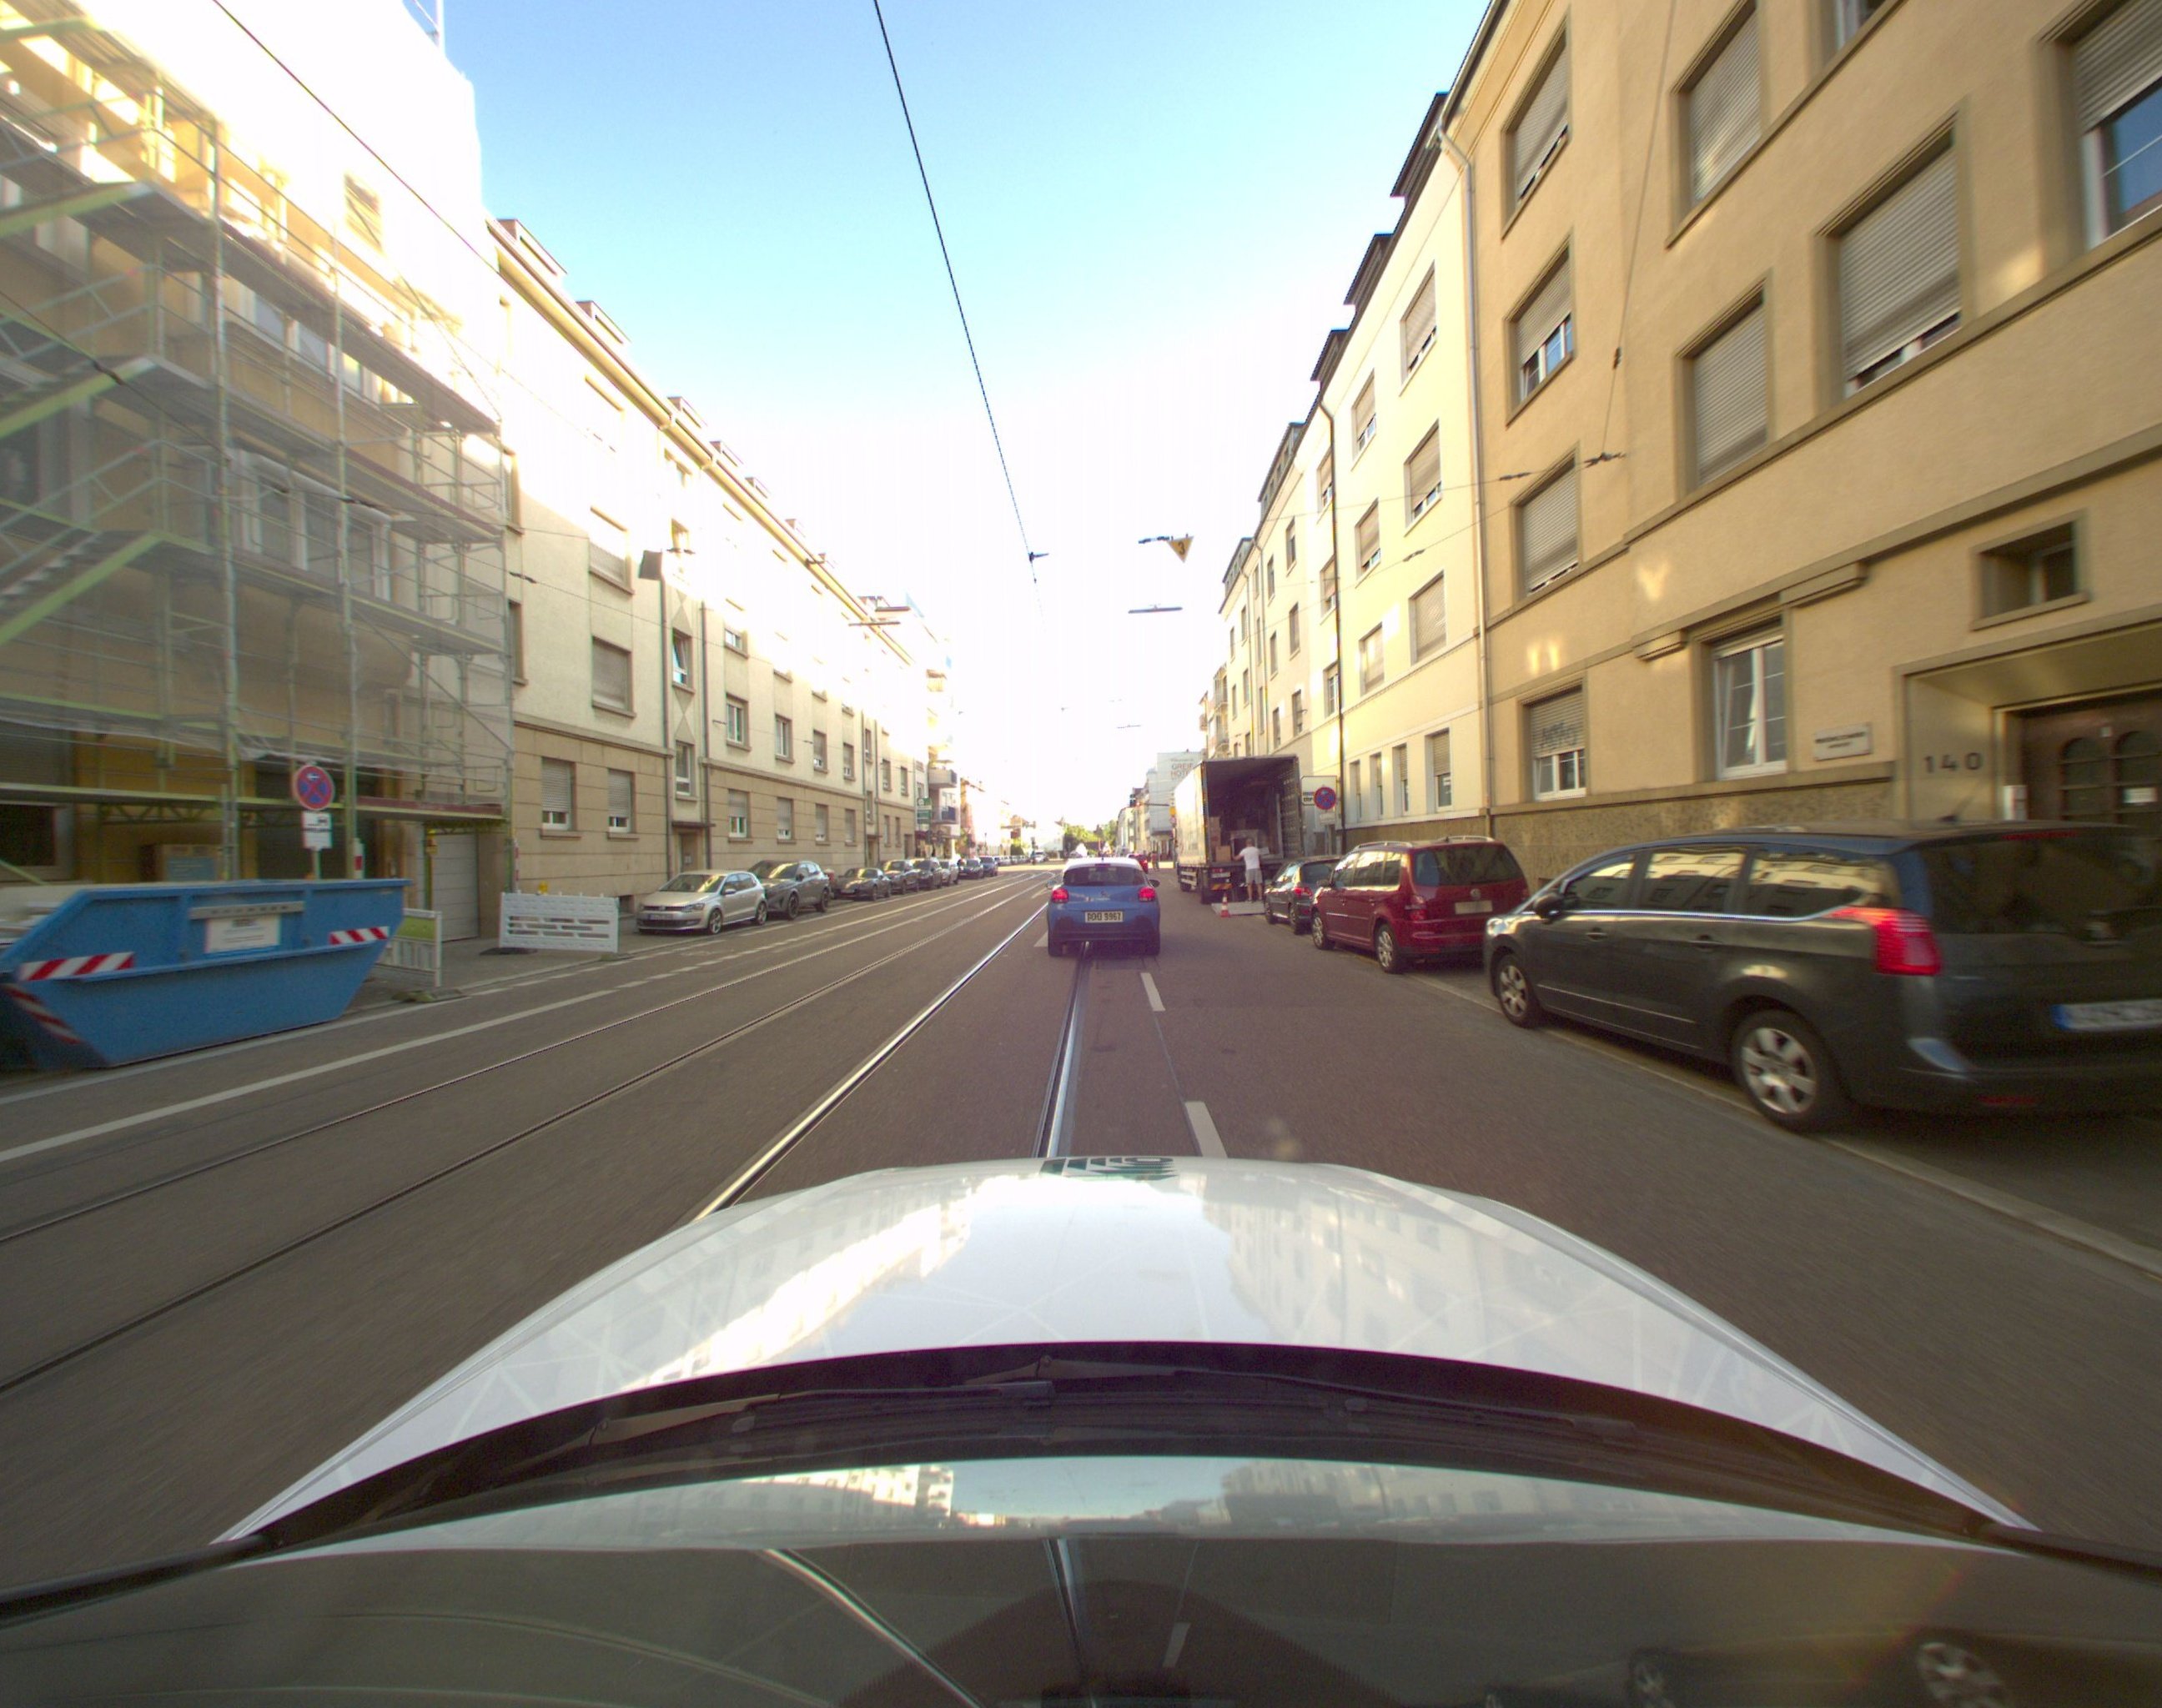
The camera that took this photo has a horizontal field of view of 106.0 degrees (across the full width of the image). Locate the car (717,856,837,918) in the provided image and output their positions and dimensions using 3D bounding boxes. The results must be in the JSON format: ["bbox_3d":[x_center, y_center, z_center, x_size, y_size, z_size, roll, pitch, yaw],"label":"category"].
[{"bbox_3d":[-8.780,0.892,23.967,1.693,1.568,4.408,-2,0,2],"label":"car"}]

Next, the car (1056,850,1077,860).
[{"bbox_3d":[-2.562,0.132,146.908,1.822,1.640,3.956,-2,0,-36],"label":"car"}]

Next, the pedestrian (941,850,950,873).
[{"bbox_3d":[-12.274,0.656,73.588,0.684,2.013,0.486,-1,0,-2],"label":"pedestrian"}]

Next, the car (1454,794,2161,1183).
[{"bbox_3d":[4.562,0.569,5.769,1.784,1.651,4.366,-3,0,0],"label":"car"}]

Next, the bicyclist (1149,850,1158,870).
[{"bbox_3d":[5.955,0.503,66.889,0.723,1.646,0.791,-2,0,4],"label":"bicyclist"}]

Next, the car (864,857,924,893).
[{"bbox_3d":[-8.464,0.919,37.195,1.693,1.569,4.002,0,-1,2],"label":"car"}]

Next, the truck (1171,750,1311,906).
[{"bbox_3d":[4.911,-0.721,27.600,2.848,4.073,11.787,-2,0,3],"label":"truck"}]

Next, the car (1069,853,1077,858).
[{"bbox_3d":[-2.108,0.392,217.401,2.014,1.525,4.000,-1,0,1],"label":"car"}]

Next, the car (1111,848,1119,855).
[{"bbox_3d":[7.437,-0.494,178.438,1.682,1.618,4.002,-1,0,2],"label":"car"}]

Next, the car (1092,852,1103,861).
[{"bbox_3d":[3.095,0.447,148.551,1.986,1.618,4.001,-1,0,2],"label":"car"}]

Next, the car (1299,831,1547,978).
[{"bbox_3d":[4.508,0.575,11.487,1.587,1.609,4.245,-3,0,-1],"label":"car"}]

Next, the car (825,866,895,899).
[{"bbox_3d":[-8.647,1.086,32.157,1.693,1.216,3.785,0,0,0],"label":"car"}]

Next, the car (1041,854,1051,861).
[{"bbox_3d":[-8.324,0.811,192.975,2.014,1.525,4.000,-1,0,1],"label":"car"}]

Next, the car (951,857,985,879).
[{"bbox_3d":[-7.899,0.945,57.296,1.693,1.509,4.314,0,0,2],"label":"car"}]

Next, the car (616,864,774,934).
[{"bbox_3d":[-8.999,0.989,19.394,1.693,1.416,4.002,2,0,2],"label":"car"}]

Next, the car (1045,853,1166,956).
[{"bbox_3d":[0.321,0.719,13.722,1.739,1.462,3.998,0,0,-1],"label":"car"}]

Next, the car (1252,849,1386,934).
[{"bbox_3d":[4.686,0.667,16.562,1.577,1.463,3.881,-3,0,1],"label":"car"}]

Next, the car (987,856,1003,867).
[{"bbox_3d":[-12.399,1.089,117.171,1.905,1.433,3.998,-2,0,-1],"label":"car"}]

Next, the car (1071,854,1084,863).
[{"bbox_3d":[-0.596,0.765,138.376,1.986,1.508,4.001,-2,0,1],"label":"car"}]

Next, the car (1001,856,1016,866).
[{"bbox_3d":[-11.941,1.143,134.339,1.904,1.497,4.000,-2,0,1],"label":"car"}]

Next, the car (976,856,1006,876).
[{"bbox_3d":[-6.998,0.901,63.776,1.738,1.509,4.002,0,-1,2],"label":"car"}]

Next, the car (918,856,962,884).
[{"bbox_3d":[-8.098,0.909,47.184,1.693,1.509,4.387,0,0,1],"label":"car"}]

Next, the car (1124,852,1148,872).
[{"bbox_3d":[4.113,0.557,60.388,1.730,1.420,4.005,-1,0,5],"label":"car"}]

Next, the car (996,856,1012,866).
[{"bbox_3d":[-12.048,1.063,127.537,1.904,1.497,4.000,-2,0,1],"label":"car"}]

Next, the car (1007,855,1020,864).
[{"bbox_3d":[-11.637,0.989,140.480,1.904,1.497,4.000,-2,0,1],"label":"car"}]

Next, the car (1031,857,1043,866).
[{"bbox_3d":[-8.113,1.380,149.658,1.844,1.574,4.400,-1,0,0],"label":"car"}]

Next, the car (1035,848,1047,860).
[{"bbox_3d":[-8.184,0.013,167.947,2.199,2.251,4.677,-2,0,1],"label":"car"}]

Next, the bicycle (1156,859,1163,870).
[{"bbox_3d":[6.446,0.862,66.769,0.496,0.864,1.750,-2,0,2],"label":"bicycle"}]

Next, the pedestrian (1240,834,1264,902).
[{"bbox_3d":[4.525,0.374,21.580,0.511,1.775,0.416,-2,0,1],"label":"pedestrian"}]

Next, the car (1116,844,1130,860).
[{"bbox_3d":[6.164,-0.252,119.434,1.986,2.325,4.001,-1,0,1],"label":"car"}]

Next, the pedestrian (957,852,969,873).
[{"bbox_3d":[-9.119,0.634,62.927,0.694,1.548,0.722,-2,0,4],"label":"pedestrian"}]

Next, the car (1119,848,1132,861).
[{"bbox_3d":[6.198,0.078,114.496,1.726,1.750,3.215,-1,0,1],"label":"car"}]

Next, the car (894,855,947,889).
[{"bbox_3d":[-8.092,0.887,41.393,1.693,1.615,4.245,0,-1,2],"label":"car"}]

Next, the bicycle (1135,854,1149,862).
[{"bbox_3d":[8.489,0.544,113.848,1.864,0.957,0.703,-2,0,6],"label":"bicycle"}]
